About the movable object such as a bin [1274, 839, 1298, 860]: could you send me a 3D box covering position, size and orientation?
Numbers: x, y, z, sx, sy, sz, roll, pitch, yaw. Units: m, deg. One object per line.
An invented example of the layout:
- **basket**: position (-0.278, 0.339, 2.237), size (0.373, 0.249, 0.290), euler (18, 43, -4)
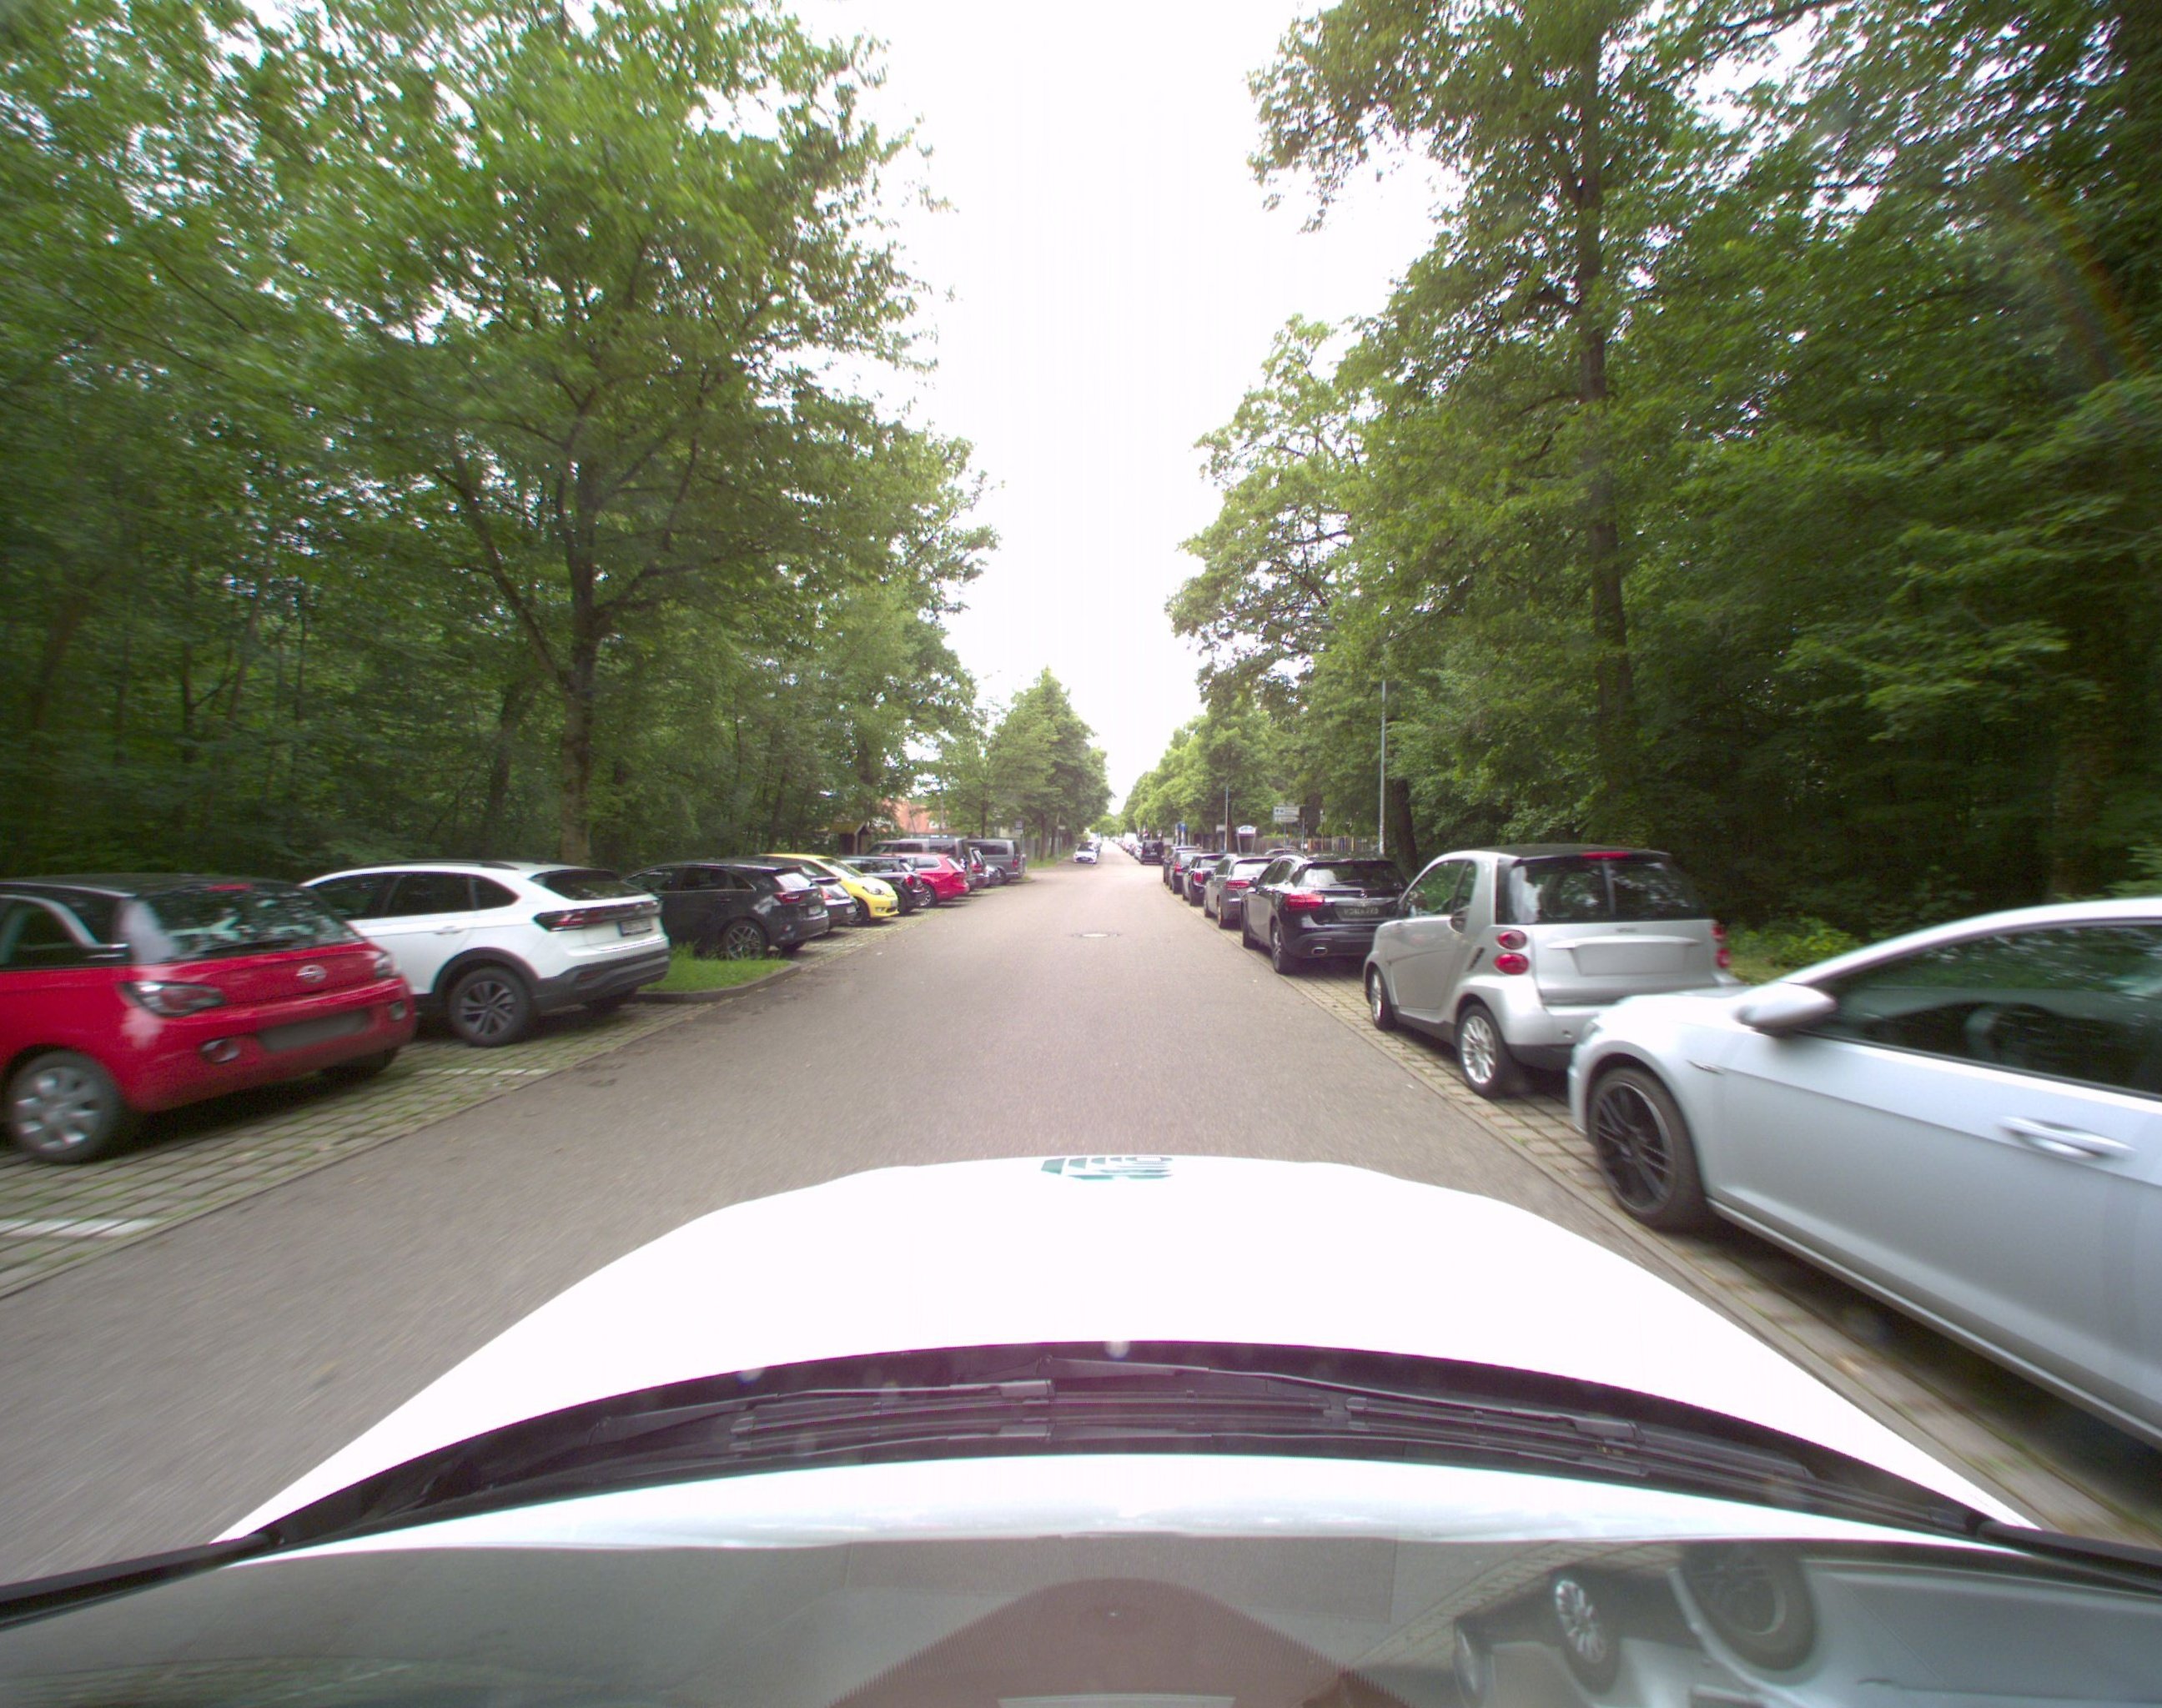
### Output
- **movable object such as a bin**: position (14.244, -0.278, 56.540), size (1.293, 1.442, 1.066), euler (0, -1, -42)

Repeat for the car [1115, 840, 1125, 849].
- **car**: position (8.837, -2.187, 184.204), size (1.984, 2.014, 4.006), euler (0, 0, 5)

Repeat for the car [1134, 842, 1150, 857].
- **car**: position (5.991, -0.474, 80.376), size (1.463, 1.481, 3.192), euler (0, 1, 3)

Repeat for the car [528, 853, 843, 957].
- **car**: position (-5.924, 0.724, 12.511), size (3.972, 1.438, 1.716), euler (1, 0, 1)

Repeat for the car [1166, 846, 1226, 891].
- **car**: position (4.012, 0.462, 28.938), size (1.729, 1.494, 4.237), euler (0, 0, 3)

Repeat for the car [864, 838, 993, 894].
- **car**: position (-5.070, 0.386, 27.412), size (3.974, 1.765, 1.824), euler (0, 0, 0)

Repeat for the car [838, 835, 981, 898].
- **car**: position (-5.183, 0.369, 24.978), size (3.972, 1.862, 1.814), euler (0, 0, 1)

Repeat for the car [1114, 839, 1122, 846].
- **car**: position (9.803, -3.150, 217.749), size (1.889, 1.706, 4.070), euler (0, 0, 5)

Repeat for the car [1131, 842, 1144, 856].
- **car**: position (6.504, -0.574, 94.384), size (1.463, 1.531, 3.192), euler (0, 1, 3)

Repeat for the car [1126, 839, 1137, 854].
- **car**: position (6.870, -0.999, 110.468), size (1.463, 1.967, 3.192), euler (0, 1, 3)

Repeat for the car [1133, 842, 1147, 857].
- **car**: position (6.190, -0.486, 85.369), size (1.463, 1.531, 3.192), euler (0, 1, 3)

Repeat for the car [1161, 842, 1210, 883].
- **car**: position (4.369, 0.317, 34.627), size (1.729, 1.633, 4.378), euler (0, 0, 3)

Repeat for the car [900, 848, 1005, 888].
- **car**: position (-5.089, 0.545, 32.662), size (3.797, 1.512, 1.811), euler (-1, 1, 4)

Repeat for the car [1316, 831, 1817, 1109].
- **car**: position (3.328, 0.644, 6.616), size (1.730, 1.568, 4.008), euler (0, 0, 1)

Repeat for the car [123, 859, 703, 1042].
- **car**: position (-5.917, 0.799, 7.576), size (3.972, 1.467, 1.715), euler (0, 0, 1)

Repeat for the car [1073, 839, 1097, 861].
- **car**: position (0.316, -0.300, 63.846), size (1.759, 1.596, 4.215), euler (2, 1, -1)

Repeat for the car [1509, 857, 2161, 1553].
- **car**: position (3.110, 0.743, 2.138), size (1.731, 1.425, 4.152), euler (0, 0, -2)

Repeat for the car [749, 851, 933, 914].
- **car**: position (-5.778, 0.656, 19.950), size (3.975, 1.438, 1.671), euler (0, 0, -1)

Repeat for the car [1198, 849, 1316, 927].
- **car**: position (3.550, 0.616, 17.203), size (1.729, 1.432, 4.505), euler (0, 0, 3)

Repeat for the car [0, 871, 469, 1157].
- **car**: position (-6.537, 0.863, 5.232), size (3.970, 1.435, 1.704), euler (0, 0, 3)

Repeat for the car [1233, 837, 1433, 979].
- **car**: position (3.235, 0.597, 11.352), size (1.728, 1.589, 4.387), euler (0, 0, 4)

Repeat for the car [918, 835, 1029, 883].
- **car**: position (-4.526, 0.202, 34.786), size (4.487, 1.978, 1.891), euler (0, -1, 0)

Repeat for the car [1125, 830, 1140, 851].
- **car**: position (7.885, -2.045, 124.206), size (2.175, 3.015, 4.901), euler (0, 1, 3)

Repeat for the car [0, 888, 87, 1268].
- **car**: position (-6.147, 0.864, 2.628), size (3.970, 1.435, 1.679), euler (0, 0, 3)

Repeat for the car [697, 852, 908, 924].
- **car**: position (-5.906, 0.695, 17.564), size (3.972, 1.438, 1.618), euler (1, 0, 1)

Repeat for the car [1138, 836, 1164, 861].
- **car**: position (5.686, -0.448, 66.321), size (1.980, 2.013, 4.112), euler (0, 1, 3)

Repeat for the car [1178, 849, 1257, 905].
- **car**: position (3.792, 0.582, 23.332), size (1.729, 1.432, 4.505), euler (0, 0, 3)

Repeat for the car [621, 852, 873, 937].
- **car**: position (-6.121, 0.715, 15.245), size (3.972, 1.438, 1.734), euler (1, 0, 1)

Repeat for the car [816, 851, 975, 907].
- **car**: position (-5.060, 0.663, 22.572), size (3.974, 1.476, 1.779), euler (0, 0, -1)
